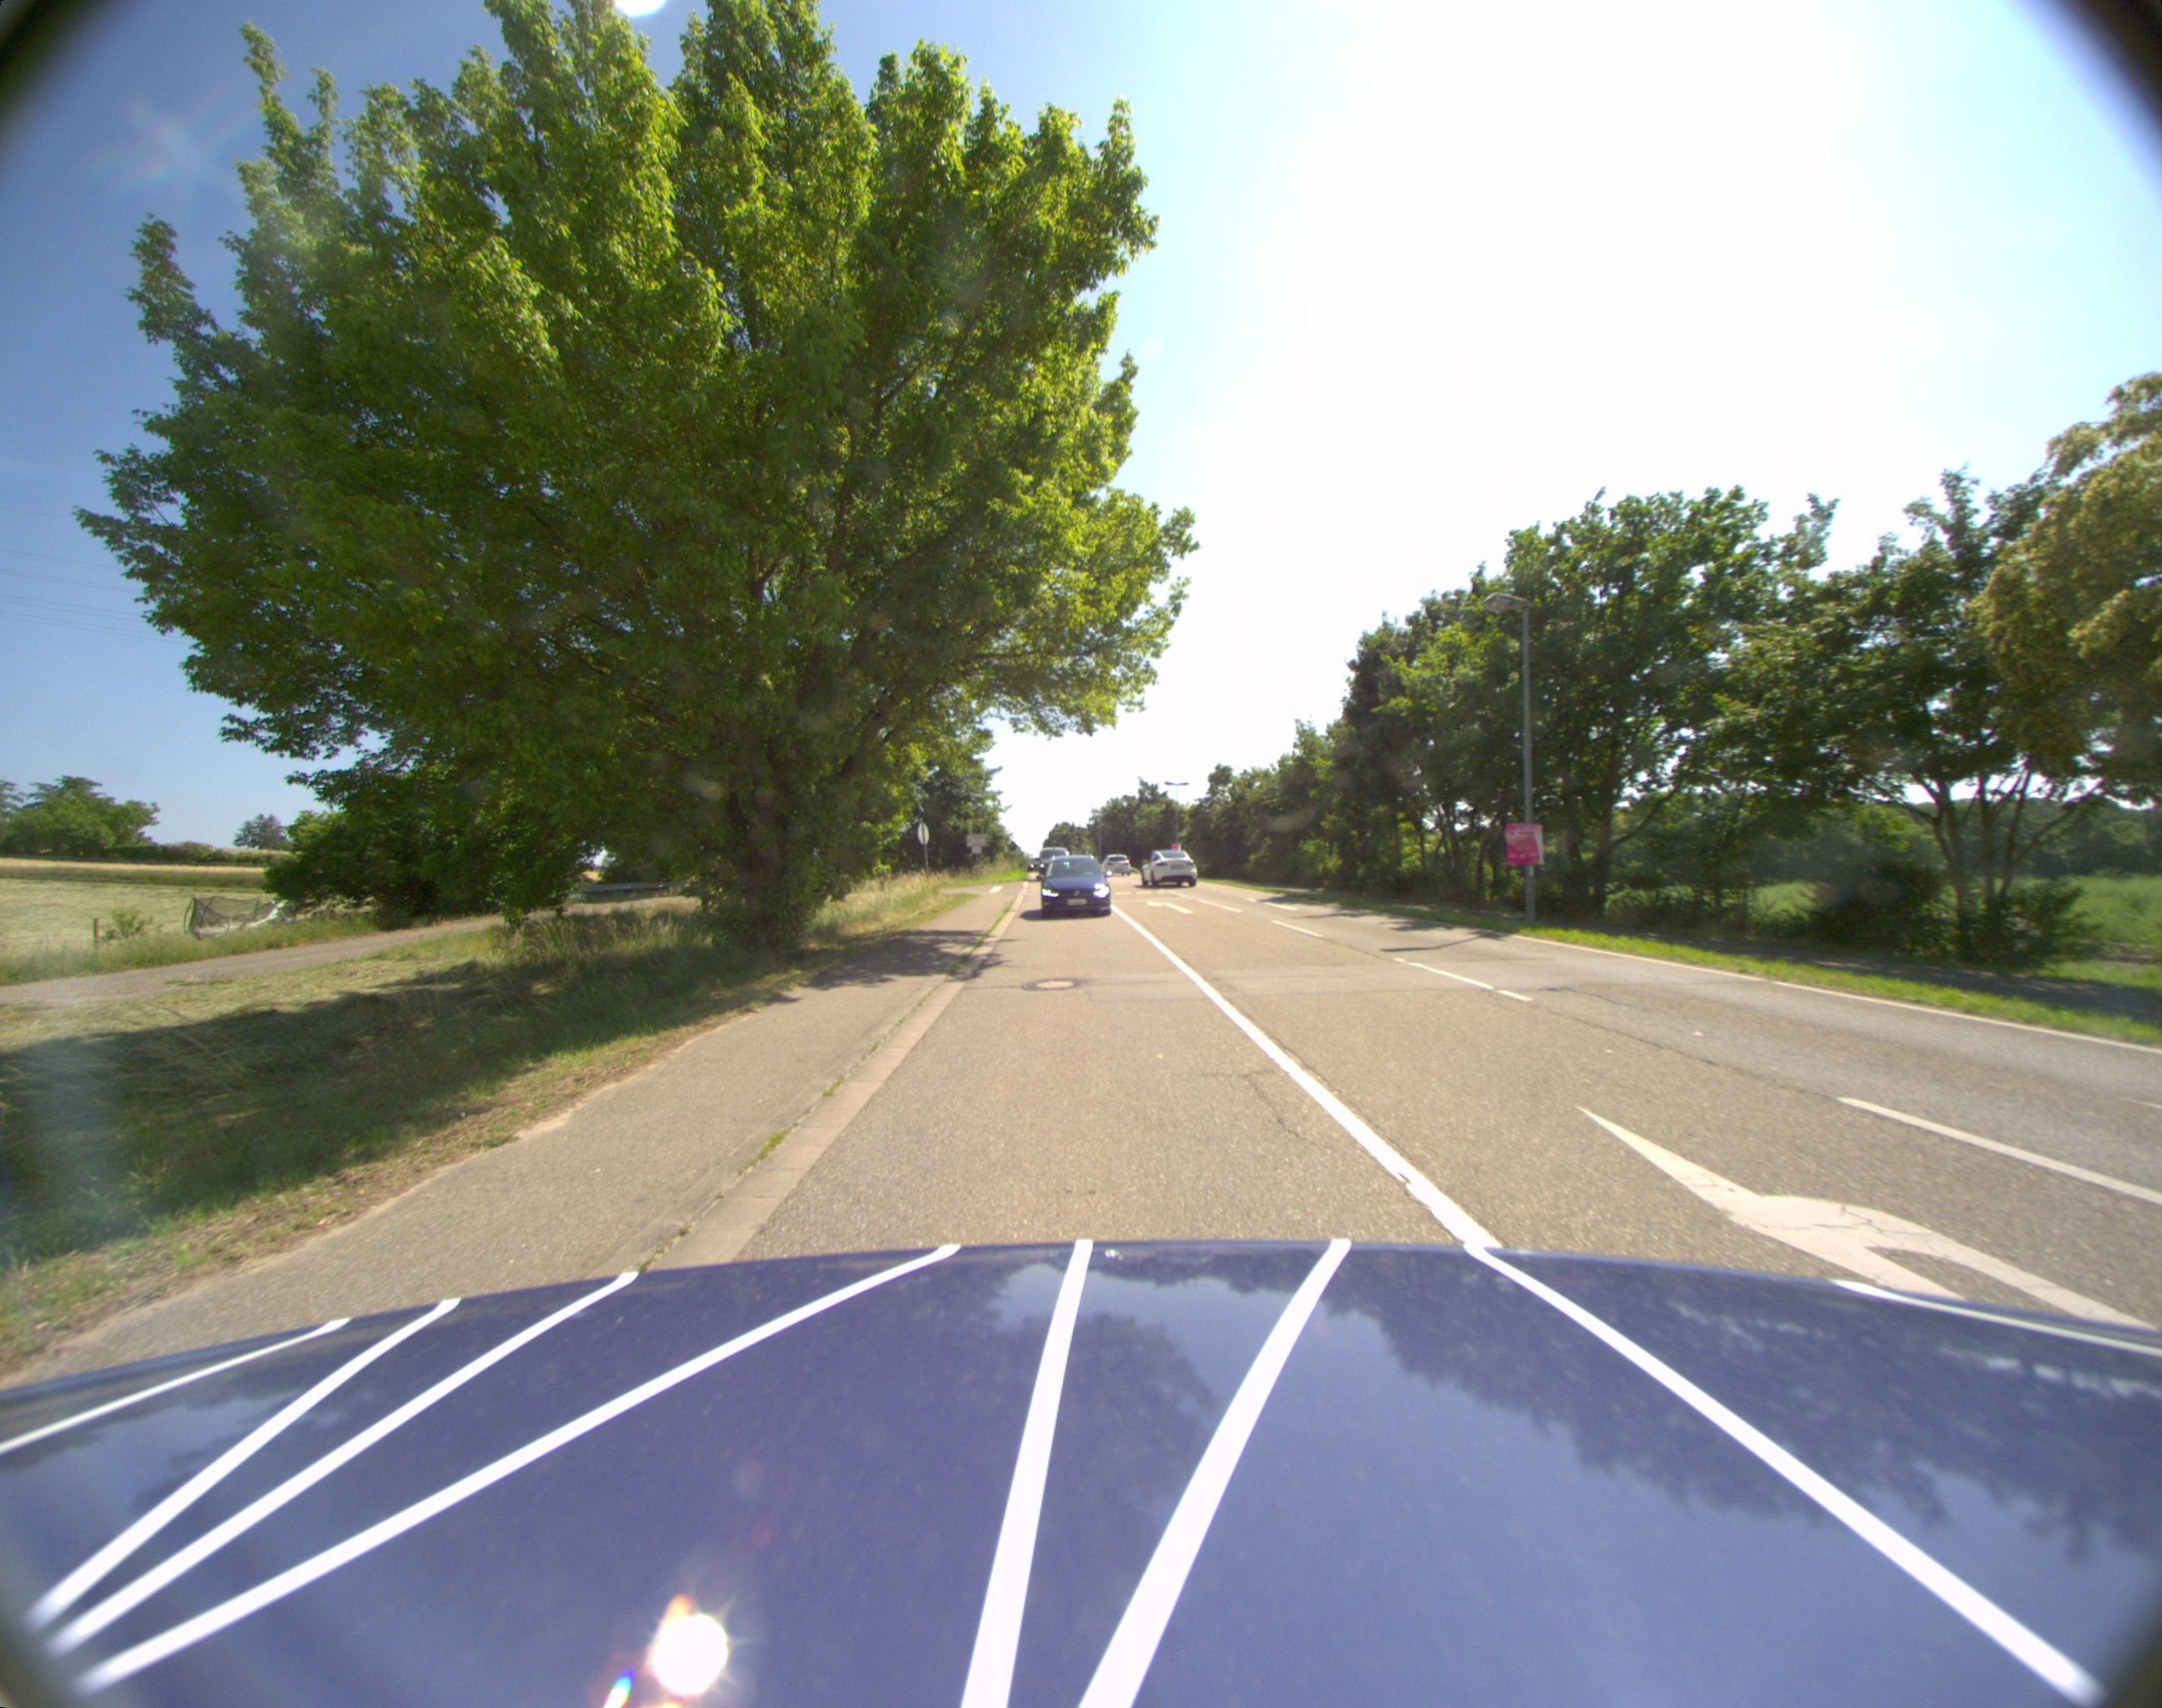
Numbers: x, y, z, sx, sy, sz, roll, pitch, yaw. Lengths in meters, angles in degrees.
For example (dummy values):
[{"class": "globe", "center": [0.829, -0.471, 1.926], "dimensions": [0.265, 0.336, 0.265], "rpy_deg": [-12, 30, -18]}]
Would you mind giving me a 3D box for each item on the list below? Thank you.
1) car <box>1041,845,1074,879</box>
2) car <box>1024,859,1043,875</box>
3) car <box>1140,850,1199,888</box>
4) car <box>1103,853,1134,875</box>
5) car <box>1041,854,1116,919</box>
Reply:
[{"class": "car", "center": [-1.490, 0.469, 46.177], "dimensions": [1.765, 1.953, 4.260], "rpy_deg": [-1, 0, -5]}, {"class": "car", "center": [-5.157, 1.345, 82.136], "dimensions": [1.765, 1.530, 3.681], "rpy_deg": [-2, 1, -7]}, {"class": "car", "center": [3.969, 0.646, 34.689], "dimensions": [1.881, 1.563, 4.470], "rpy_deg": [-1, 0, -4]}, {"class": "car", "center": [2.627, 0.681, 54.562], "dimensions": [1.653, 1.425, 3.894], "rpy_deg": [-2, 0, -5]}, {"class": "car", "center": [-0.131, 0.839, 20.785], "dimensions": [1.765, 1.519, 4.423], "rpy_deg": [-2, -1, -2]}]
